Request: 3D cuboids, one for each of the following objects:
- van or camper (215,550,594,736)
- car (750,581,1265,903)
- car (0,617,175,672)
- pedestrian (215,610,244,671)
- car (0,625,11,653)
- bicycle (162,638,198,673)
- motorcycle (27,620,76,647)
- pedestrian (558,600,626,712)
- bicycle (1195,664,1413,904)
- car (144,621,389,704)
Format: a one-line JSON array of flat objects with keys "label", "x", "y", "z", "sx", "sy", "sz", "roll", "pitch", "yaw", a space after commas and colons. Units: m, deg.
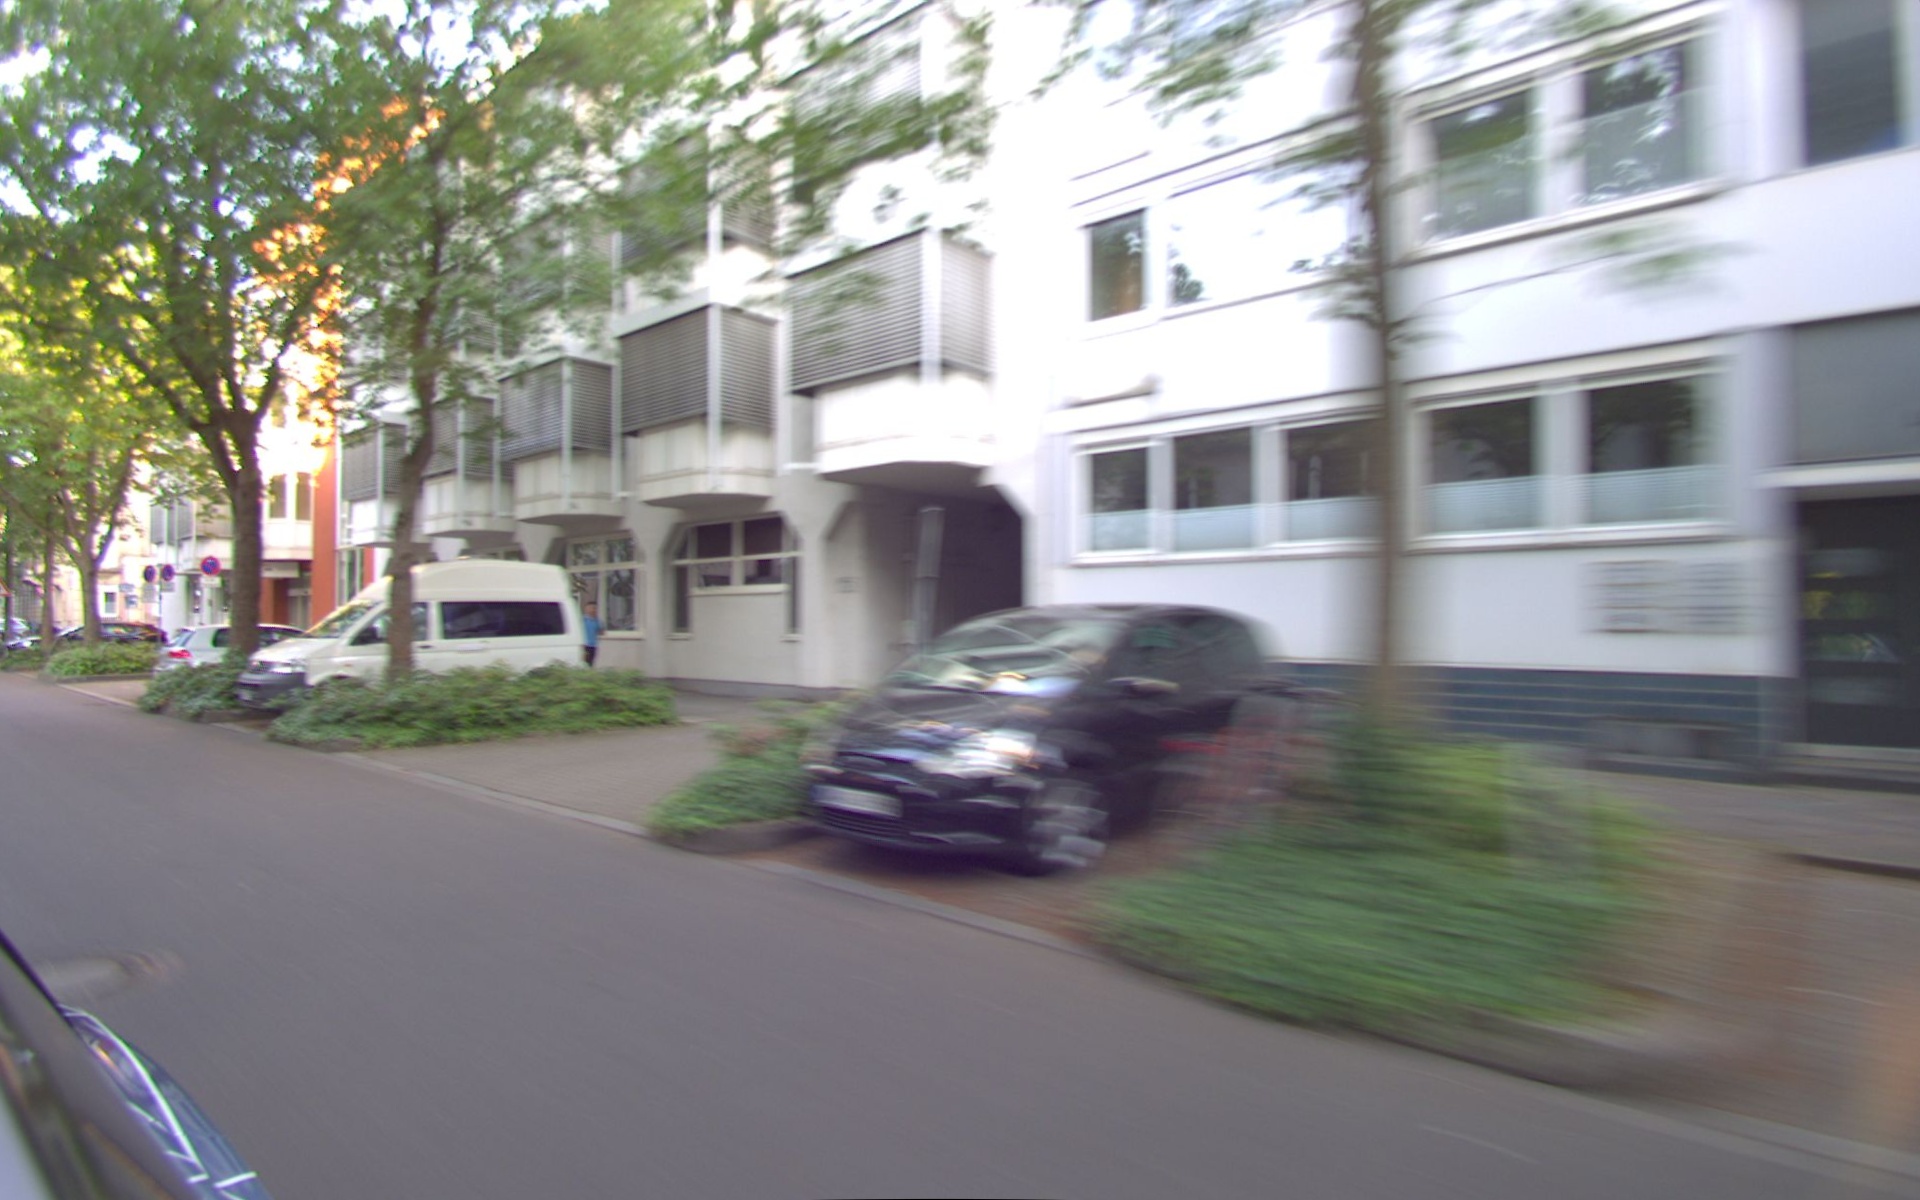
[{"label": "van or camper", "x": -8.404, "y": 0.641, "z": 15.713, "sx": 1.944, "sy": 2.446, "sz": 4.766, "roll": -1, "pitch": -3, "yaw": 41}, {"label": "car", "x": 0.689, "y": 0.824, "z": 7.638, "sx": 1.619, "sy": 1.695, "sz": 4.492, "roll": -1, "pitch": -2, "yaw": 37}, {"label": "car", "x": -30.184, "y": 1.516, "z": 35.054, "sx": 1.789, "sy": 1.772, "sz": 4.420, "roll": -1, "pitch": -2, "yaw": 38}, {"label": "pedestrian", "x": -21.386, "y": 1.180, "z": 29.636, "sx": 0.628, "sy": 1.758, "sz": 0.680, "roll": 1, "pitch": -2, "yaw": -40}, {"label": "car", "x": -56.824, "y": 2.192, "z": 57.687, "sx": 1.674, "sy": 1.645, "sz": 3.808, "roll": -2, "pitch": -4, "yaw": 41}, {"label": "bicycle", "x": -23.206, "y": 1.629, "z": 30.125, "sx": 0.448, "sy": 0.995, "sz": 1.761, "roll": 1, "pitch": -2, "yaw": -25}, {"label": "motorcycle", "x": -41.420, "y": 1.510, "z": 46.156, "sx": 0.572, "sy": 1.151, "sz": 1.604, "roll": -1, "pitch": 0, "yaw": 43}, {"label": "pedestrian", "x": -6.907, "y": 1.033, "z": 18.989, "sx": 0.839, "sy": 2.029, "sz": 0.930, "roll": -2, "pitch": -2, "yaw": 45}, {"label": "bicycle", "x": 1.916, "y": 0.886, "z": 5.460, "sx": 0.479, "sy": 1.033, "sz": 1.882, "roll": -1, "pitch": -2, "yaw": 39}, {"label": "car", "x": -14.437, "y": 1.234, "z": 21.226, "sx": 1.622, "sy": 1.539, "sz": 4.008, "roll": -2, "pitch": -1, "yaw": 44}]
